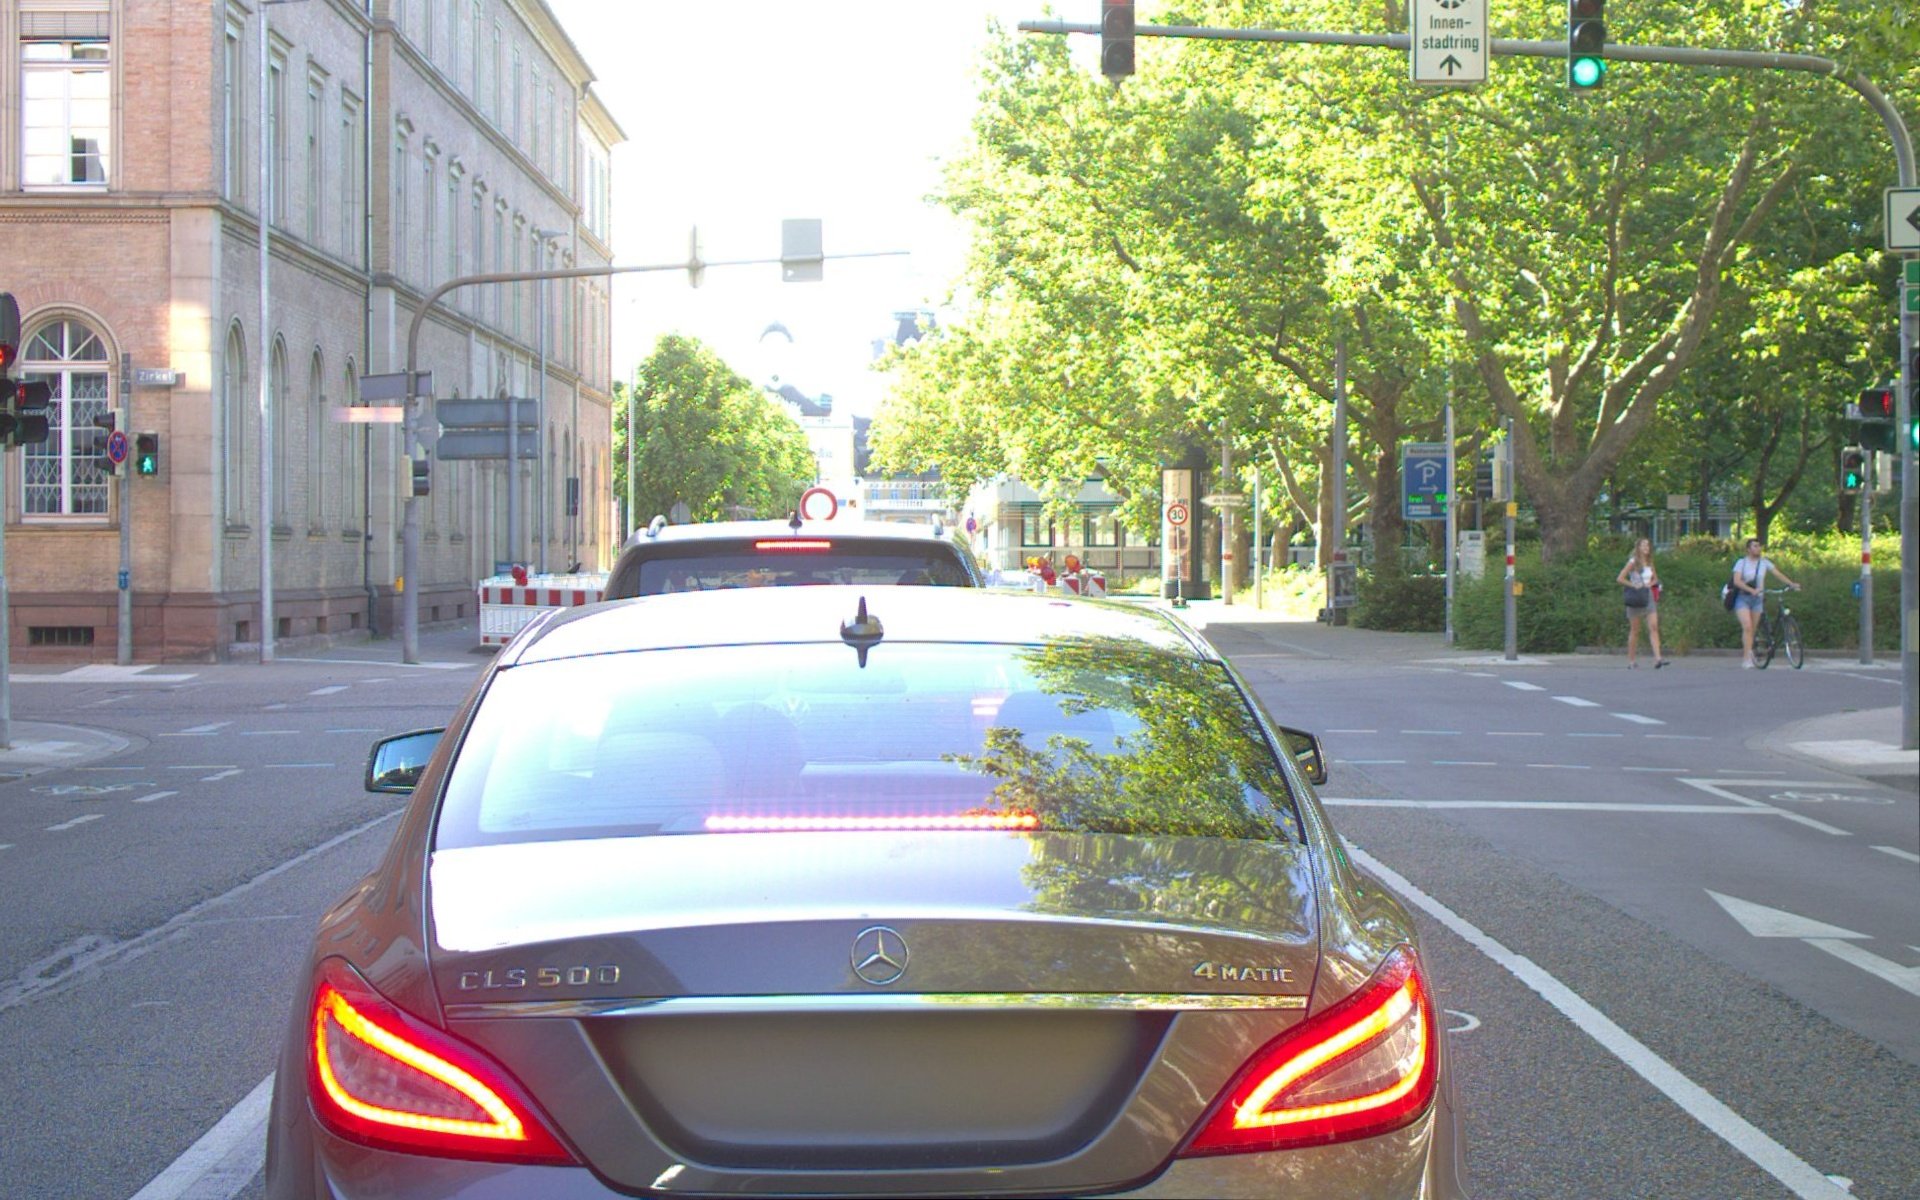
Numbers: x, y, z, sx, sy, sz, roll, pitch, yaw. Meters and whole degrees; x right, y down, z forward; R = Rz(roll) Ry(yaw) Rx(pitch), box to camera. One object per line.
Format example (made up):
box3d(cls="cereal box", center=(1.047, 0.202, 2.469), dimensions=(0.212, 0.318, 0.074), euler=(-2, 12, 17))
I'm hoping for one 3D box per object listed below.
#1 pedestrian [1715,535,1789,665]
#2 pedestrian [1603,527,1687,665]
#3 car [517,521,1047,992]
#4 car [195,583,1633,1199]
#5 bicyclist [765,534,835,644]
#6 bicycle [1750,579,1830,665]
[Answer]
box3d(cls="pedestrian", center=(10.486, -0.002, 45.546), dimensions=(0.683, 1.691, 0.971), euler=(1, 0, -4))
box3d(cls="pedestrian", center=(9.073, -0.056, 45.531), dimensions=(0.732, 1.802, 0.909), euler=(0, -1, -16))
box3d(cls="car", center=(-0.575, 0.517, 13.758), dimensions=(1.809, 1.607, 4.000), euler=(0, 1, 1))
box3d(cls="car", center=(-0.271, 0.706, 6.663), dimensions=(1.842, 1.424, 4.518), euler=(1, 1, -6))
box3d(cls="bicyclist", center=(-2.301, -0.158, 49.364), dimensions=(0.804, 1.553, 0.650), euler=(1, 0, -24))
box3d(cls="bicycle", center=(10.959, 0.284, 45.424), dimensions=(0.524, 1.096, 1.741), euler=(1, 1, -3))
